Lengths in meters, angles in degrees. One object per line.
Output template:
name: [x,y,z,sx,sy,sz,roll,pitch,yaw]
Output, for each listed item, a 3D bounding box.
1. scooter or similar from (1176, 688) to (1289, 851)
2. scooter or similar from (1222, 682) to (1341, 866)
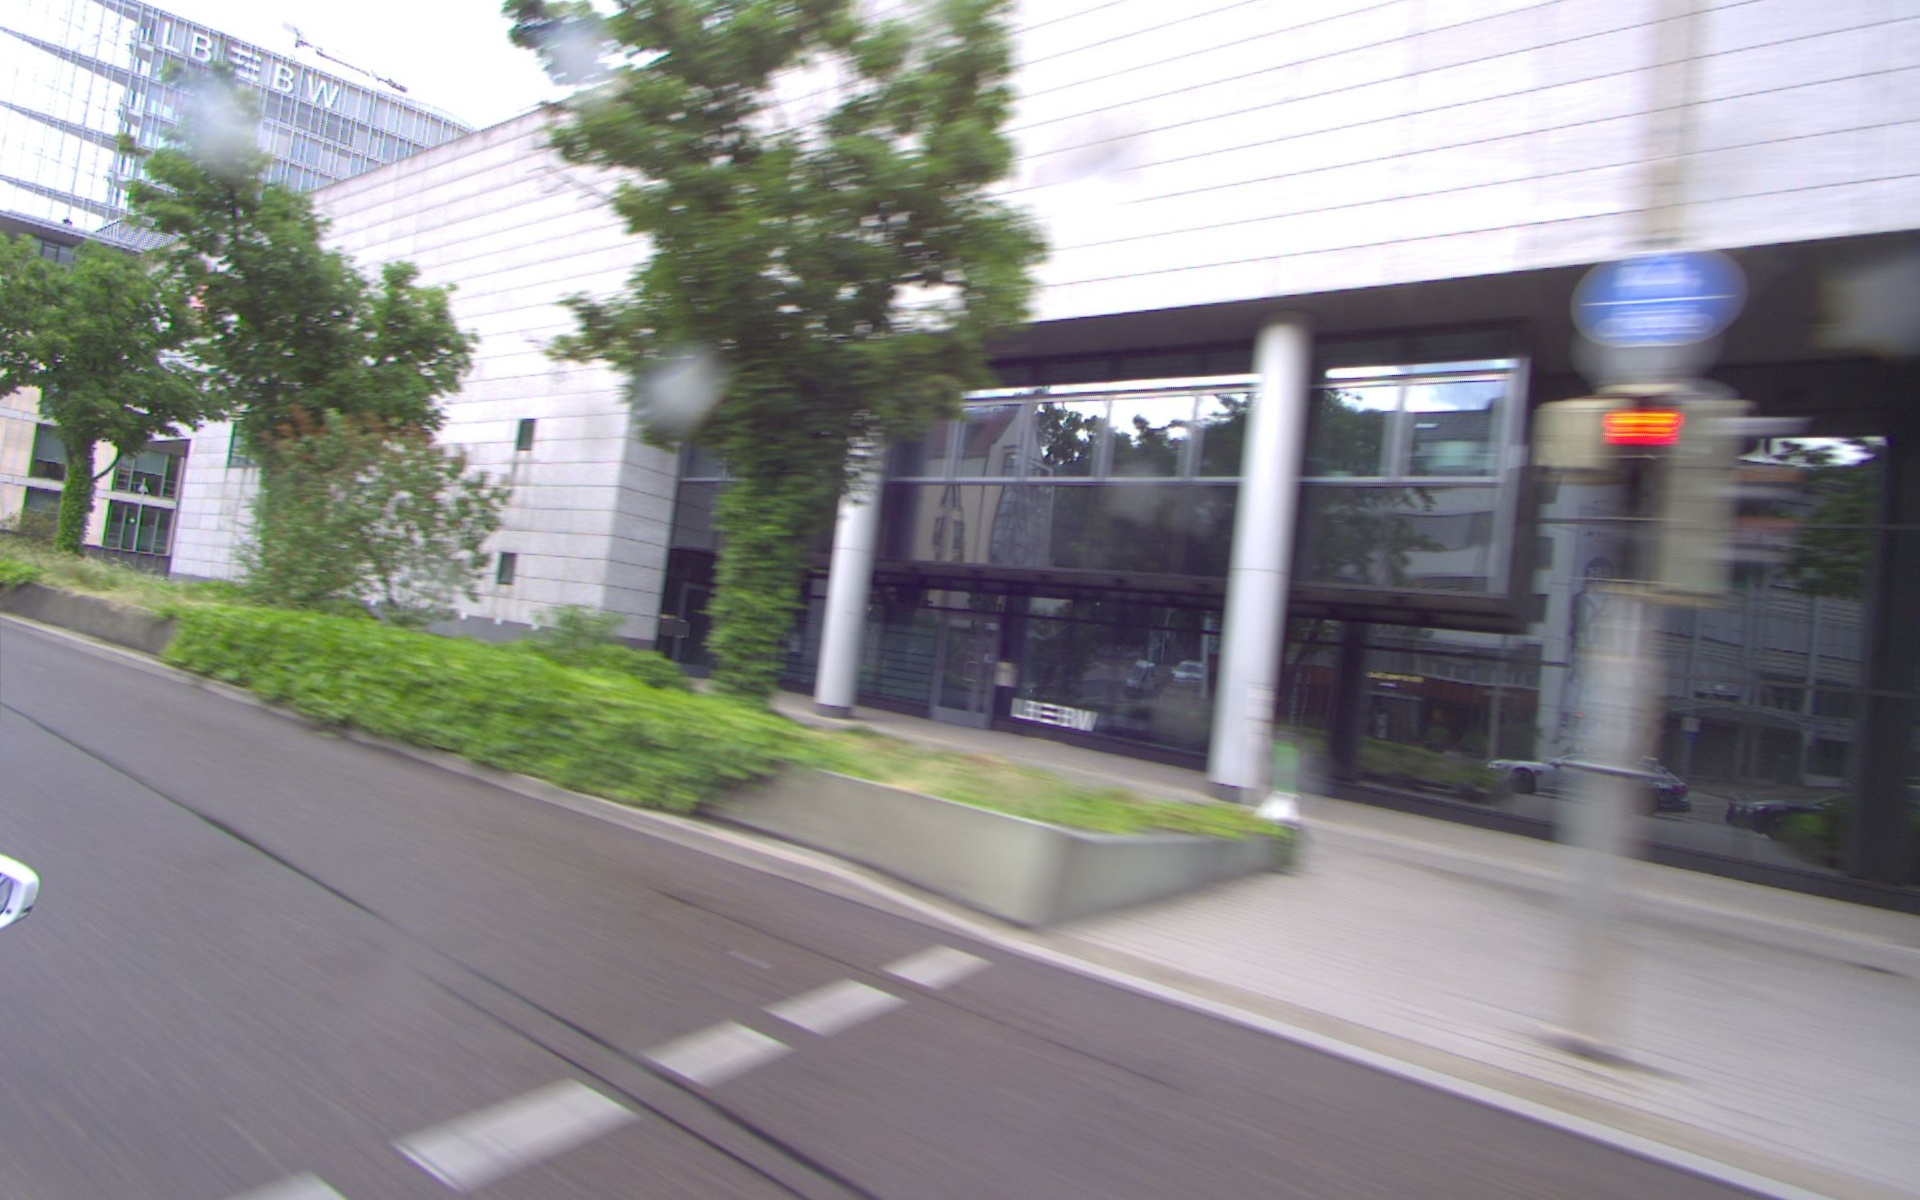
scooter or similar: [2.668,1.635,9.772,0.452,1.424,1.325,7,-3,36]
scooter or similar: [3.059,1.624,9.486,0.495,1.547,1.325,7,-3,36]
